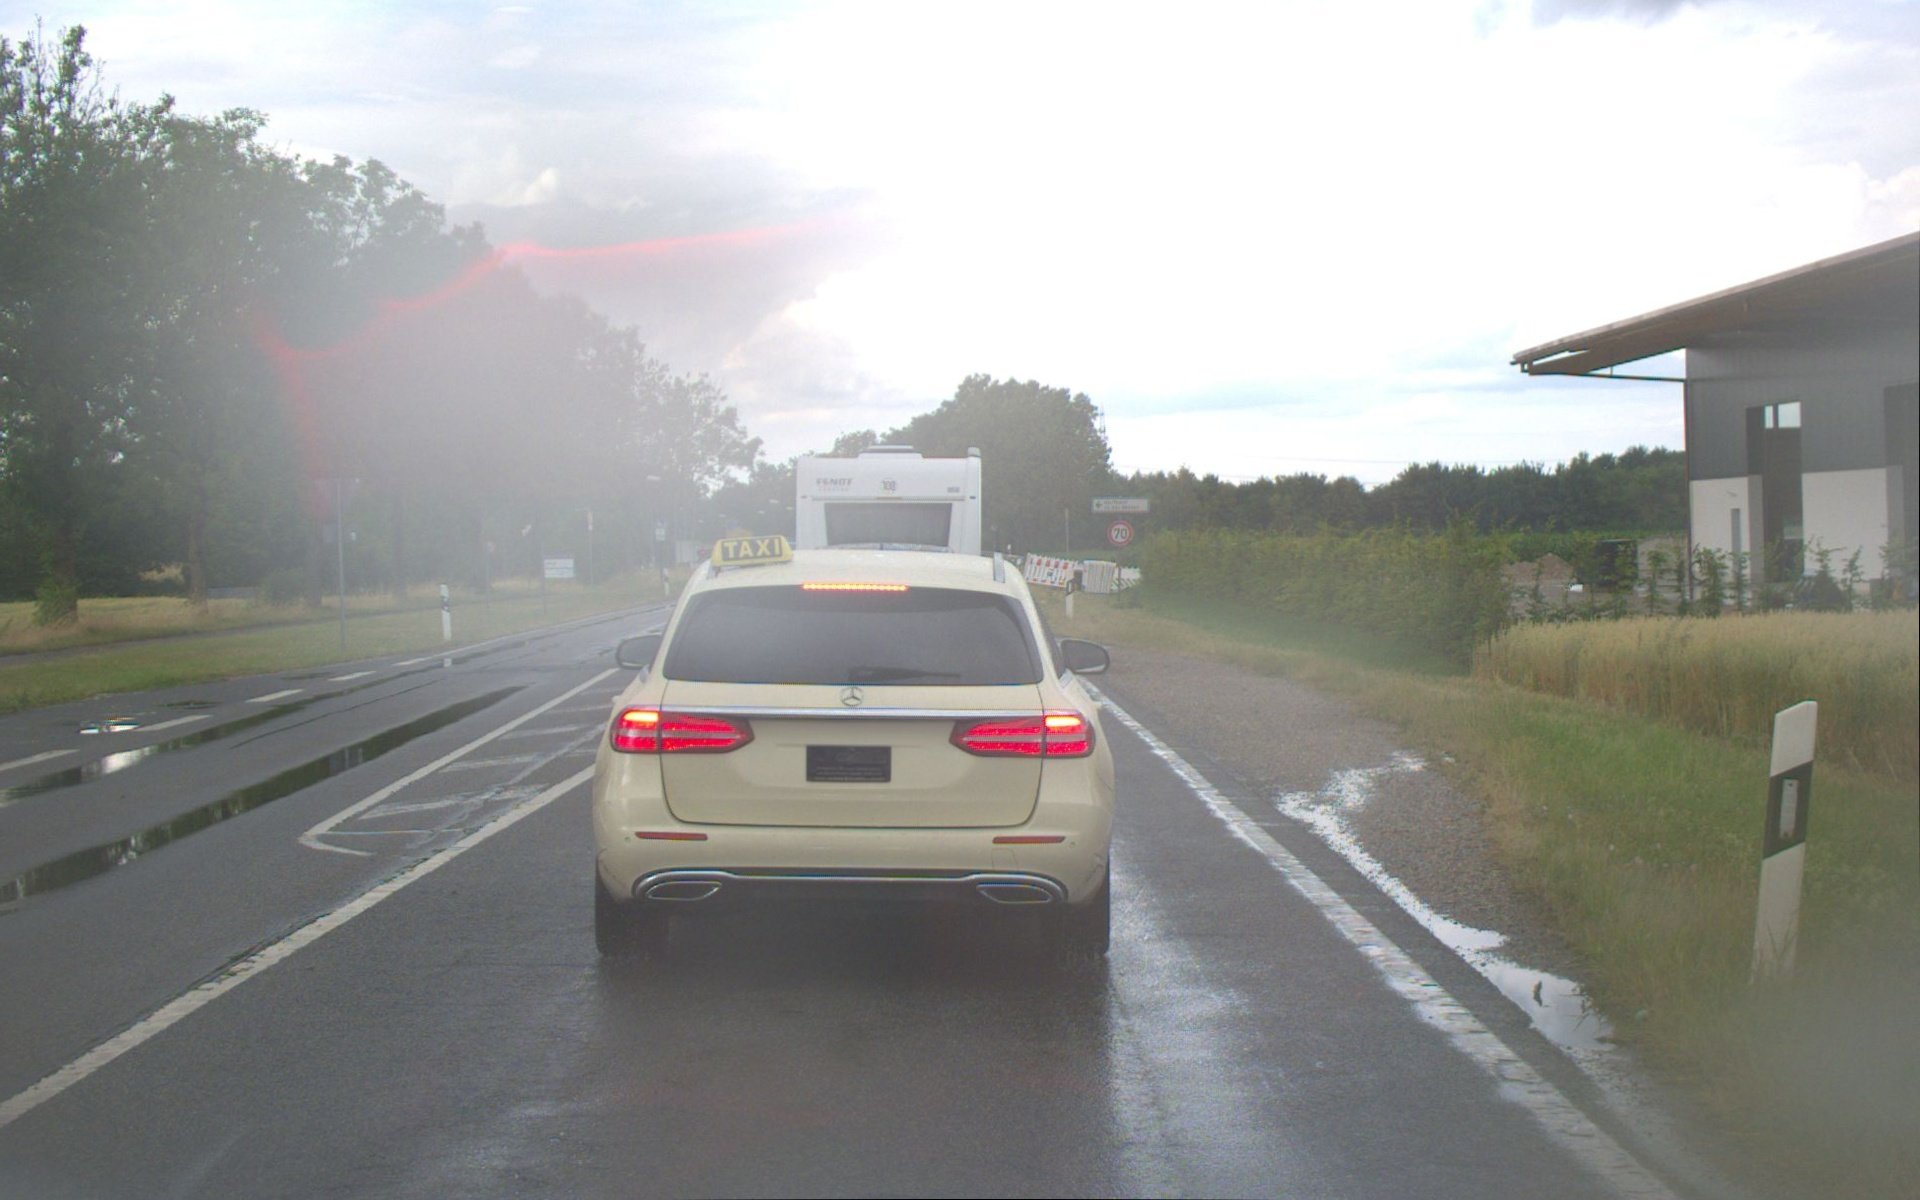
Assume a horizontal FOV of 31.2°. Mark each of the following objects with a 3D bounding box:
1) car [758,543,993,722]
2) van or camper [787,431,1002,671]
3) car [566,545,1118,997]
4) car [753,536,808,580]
[{"bbox_3d":[-0.730,0.228,29.691,1.894,1.424,3.928,0,1,-1],"label":"car"},{"bbox_3d":[-0.789,-0.640,44.454,2.497,2.821,5.934,-2,1,0],"label":"van or camper"},{"bbox_3d":[-0.400,0.526,13.229,1.797,1.459,4.031,0,1,0],"label":"car"},{"bbox_3d":[-6.975,-1.659,133.909,1.916,1.626,4.357,-2,1,-1],"label":"car"}]
